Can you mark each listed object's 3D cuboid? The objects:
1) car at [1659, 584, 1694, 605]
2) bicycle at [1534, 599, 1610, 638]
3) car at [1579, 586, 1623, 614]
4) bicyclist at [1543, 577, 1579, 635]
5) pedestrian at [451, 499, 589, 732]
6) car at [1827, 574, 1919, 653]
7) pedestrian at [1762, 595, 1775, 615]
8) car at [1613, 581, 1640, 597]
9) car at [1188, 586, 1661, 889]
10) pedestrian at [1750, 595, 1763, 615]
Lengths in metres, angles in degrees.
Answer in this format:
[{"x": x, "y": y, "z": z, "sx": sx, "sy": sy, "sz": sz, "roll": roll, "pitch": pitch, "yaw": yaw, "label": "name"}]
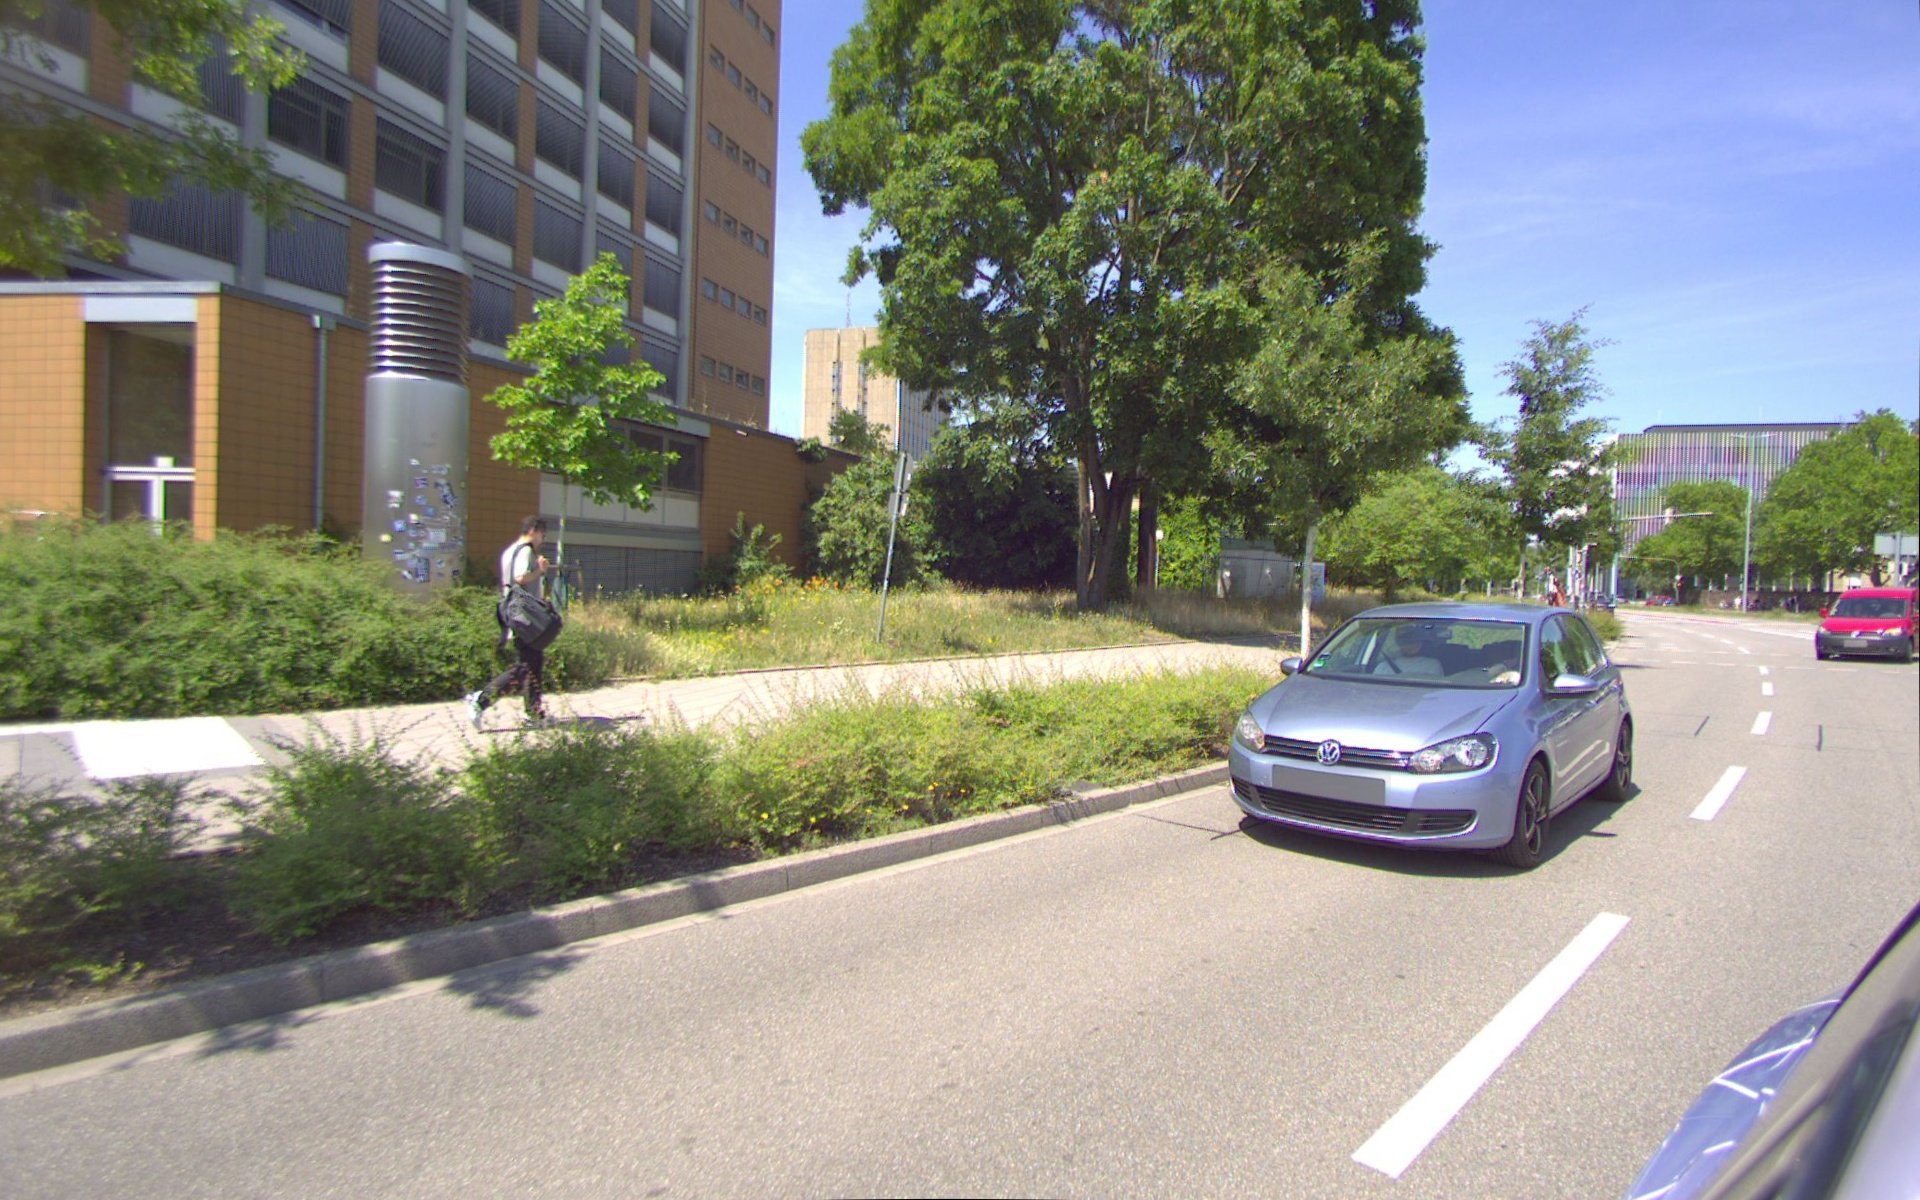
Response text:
[{"x": 75.923, "y": -0.525, "z": 107.259, "sx": 1.976, "sy": 2.039, "sz": 4.184, "roll": 2, "pitch": -1, "yaw": 21, "label": "car"}, {"x": 18.848, "y": 0.553, "z": 31.213, "sx": 0.547, "sy": 1.058, "sz": 2.002, "roll": 3, "pitch": 2, "yaw": -23, "label": "bicycle"}, {"x": 40.224, "y": 0.037, "z": 63.587, "sx": 1.692, "sy": 1.606, "sz": 4.515, "roll": 2, "pitch": -1, "yaw": 25, "label": "car"}, {"x": 18.729, "y": 0.182, "z": 31.530, "sx": 0.540, "sy": 1.737, "sz": 0.705, "roll": 3, "pitch": 1, "yaw": -22, "label": "bicyclist"}, {"x": -3.509, "y": 0.111, "z": 8.070, "sx": 0.796, "sy": 1.727, "sz": 0.733, "roll": 1, "pitch": 0, "yaw": -40, "label": "pedestrian"}, {"x": 23.021, "y": 0.373, "z": 25.064, "sx": 4.205, "sy": 1.788, "sz": 1.830, "roll": 3, "pitch": -1, "yaw": -42, "label": "car"}, {"x": 83.259, "y": 0.540, "z": 104.256, "sx": 0.779, "sy": 2.039, "sz": 0.834, "roll": 2, "pitch": -1, "yaw": 20, "label": "pedestrian"}, {"x": 76.355, "y": -1.256, "z": 115.990, "sx": 1.762, "sy": 1.705, "sz": 3.968, "roll": 2, "pitch": -1, "yaw": 23, "label": "car"}, {"x": 3.422, "y": 0.665, "z": 7.048, "sx": 1.828, "sy": 1.432, "sz": 3.932, "roll": 3, "pitch": 2, "yaw": 43, "label": "car"}, {"x": 82.299, "y": 0.523, "z": 104.569, "sx": 0.779, "sy": 2.039, "sz": 0.957, "roll": 2, "pitch": -1, "yaw": 20, "label": "pedestrian"}]
